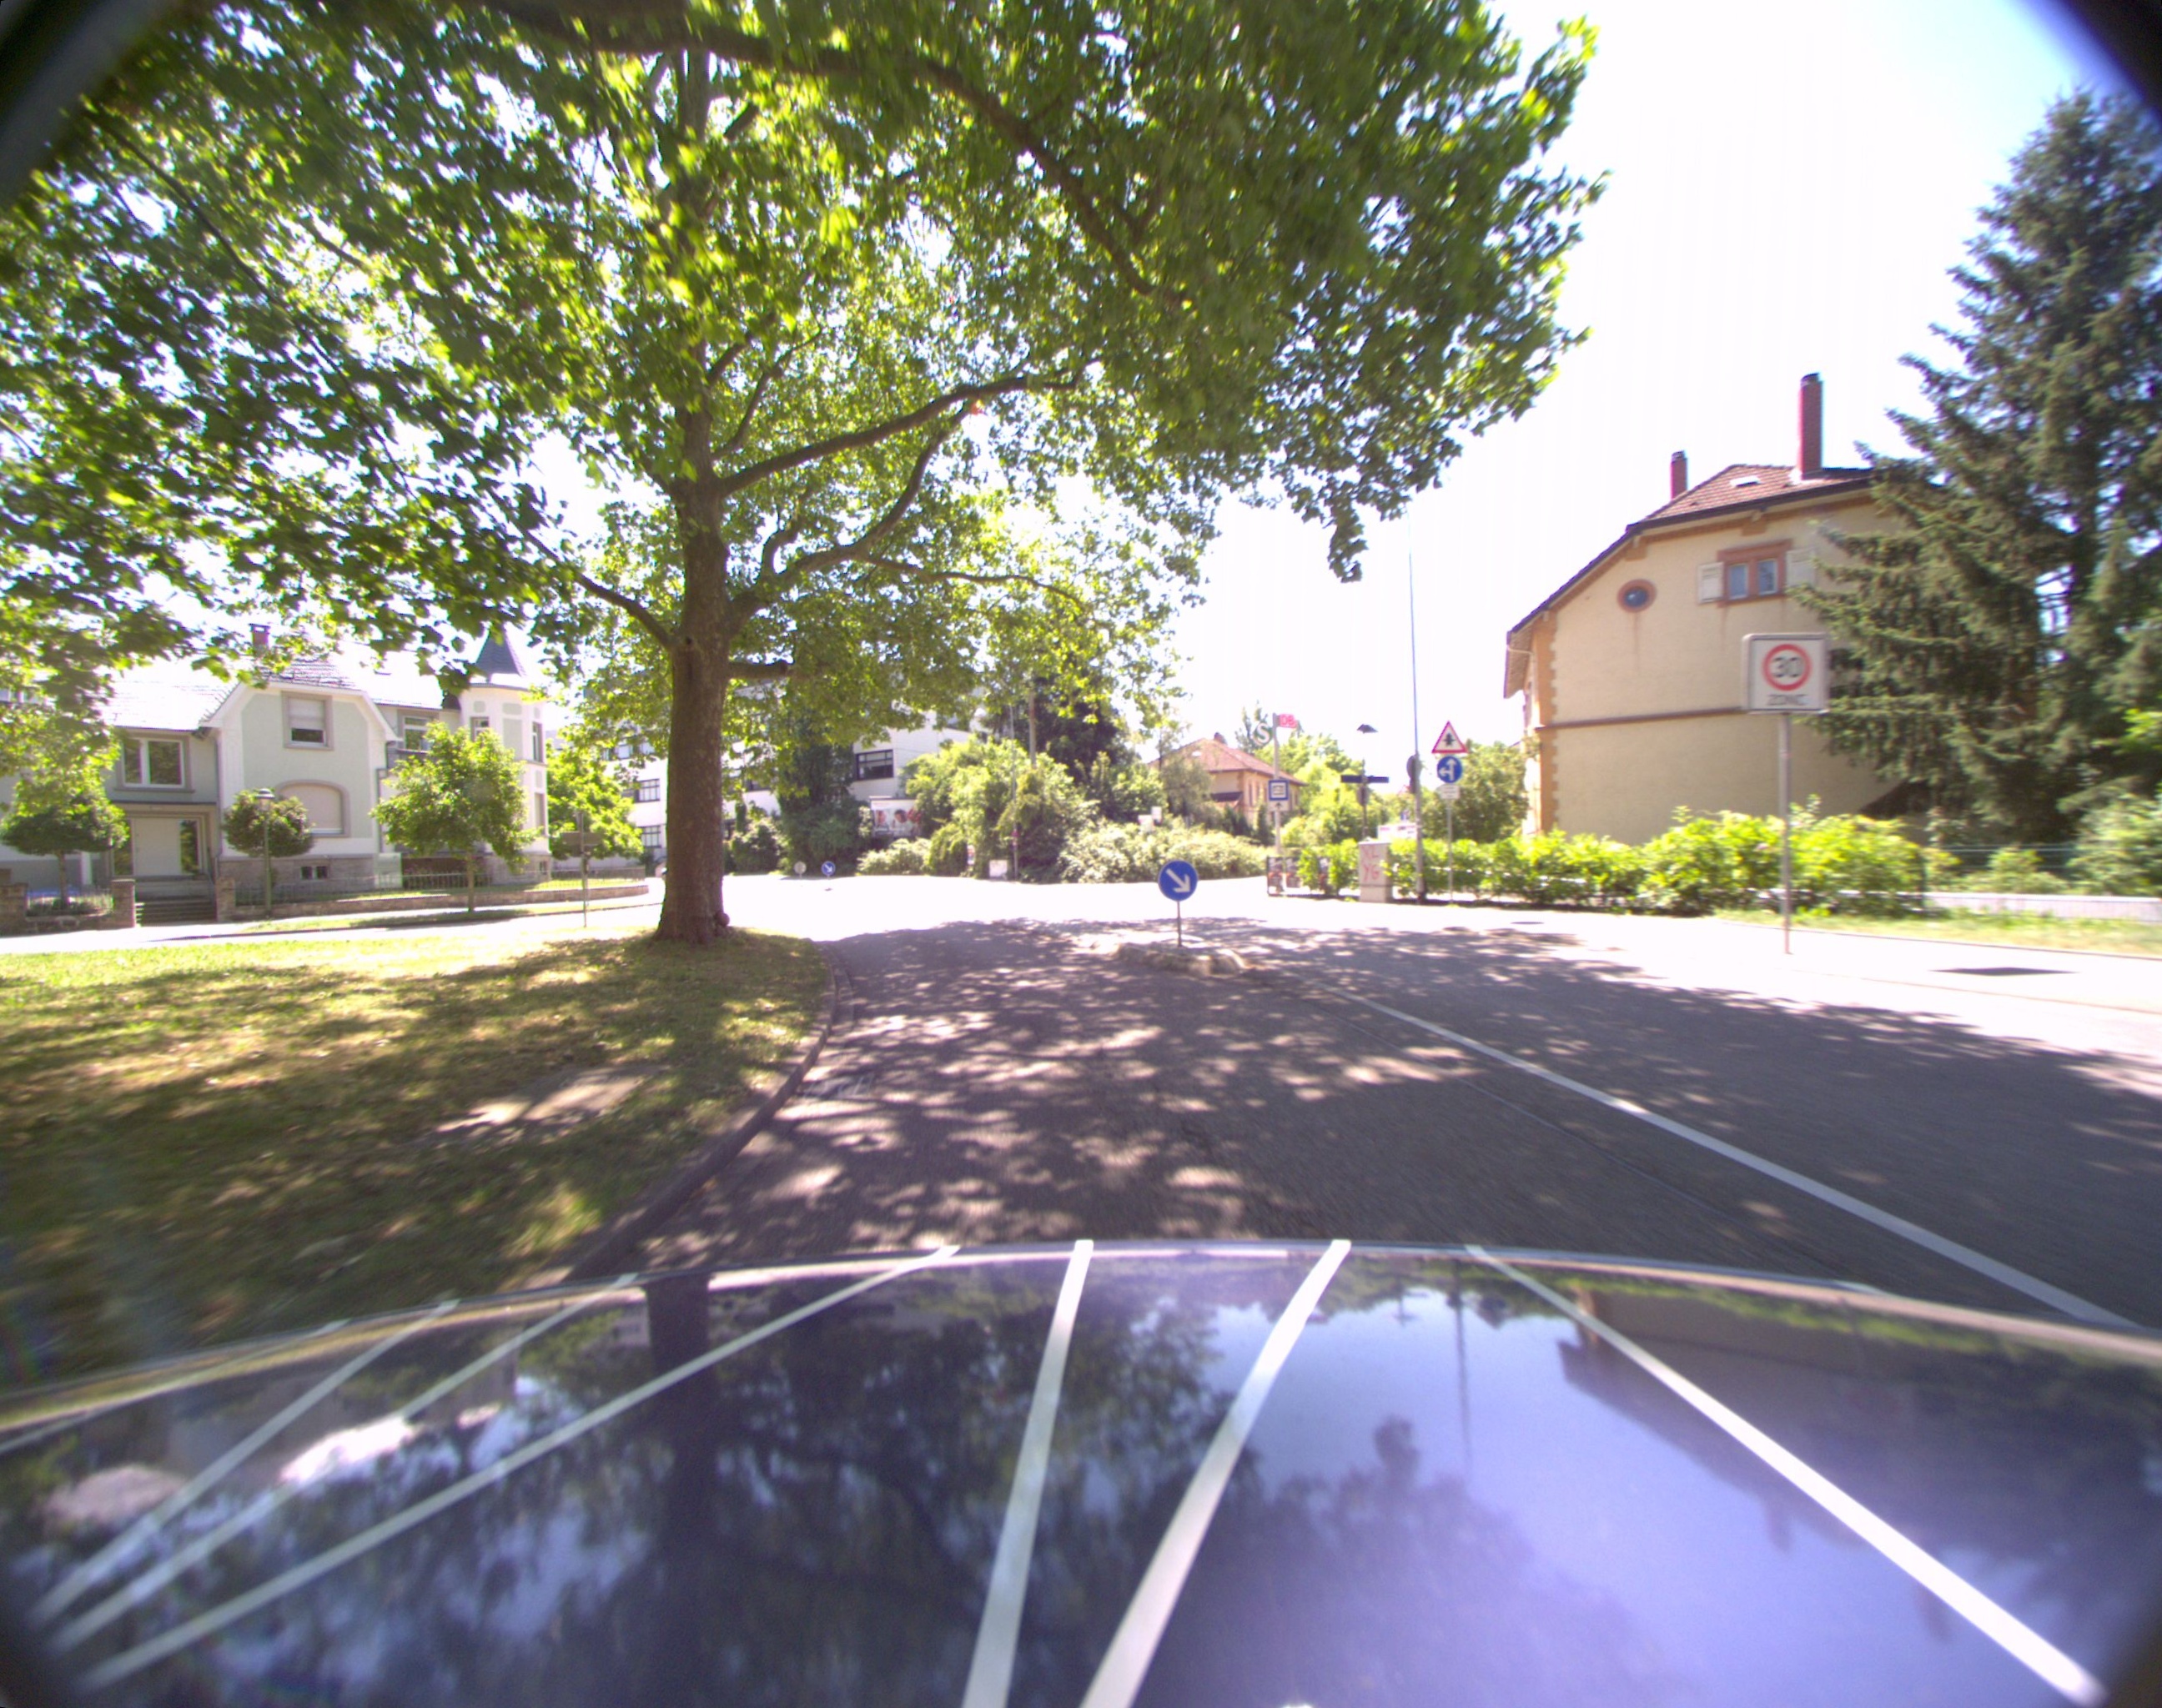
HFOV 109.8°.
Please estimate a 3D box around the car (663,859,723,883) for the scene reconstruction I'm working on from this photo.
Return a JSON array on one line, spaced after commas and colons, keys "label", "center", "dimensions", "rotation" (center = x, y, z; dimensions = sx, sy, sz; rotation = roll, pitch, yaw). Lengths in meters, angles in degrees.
[{"label": "car", "center": [-27.665, 1.225, 54.090], "dimensions": [4.327, 1.521, 1.854], "rotation": [-2, 1, 33]}]
